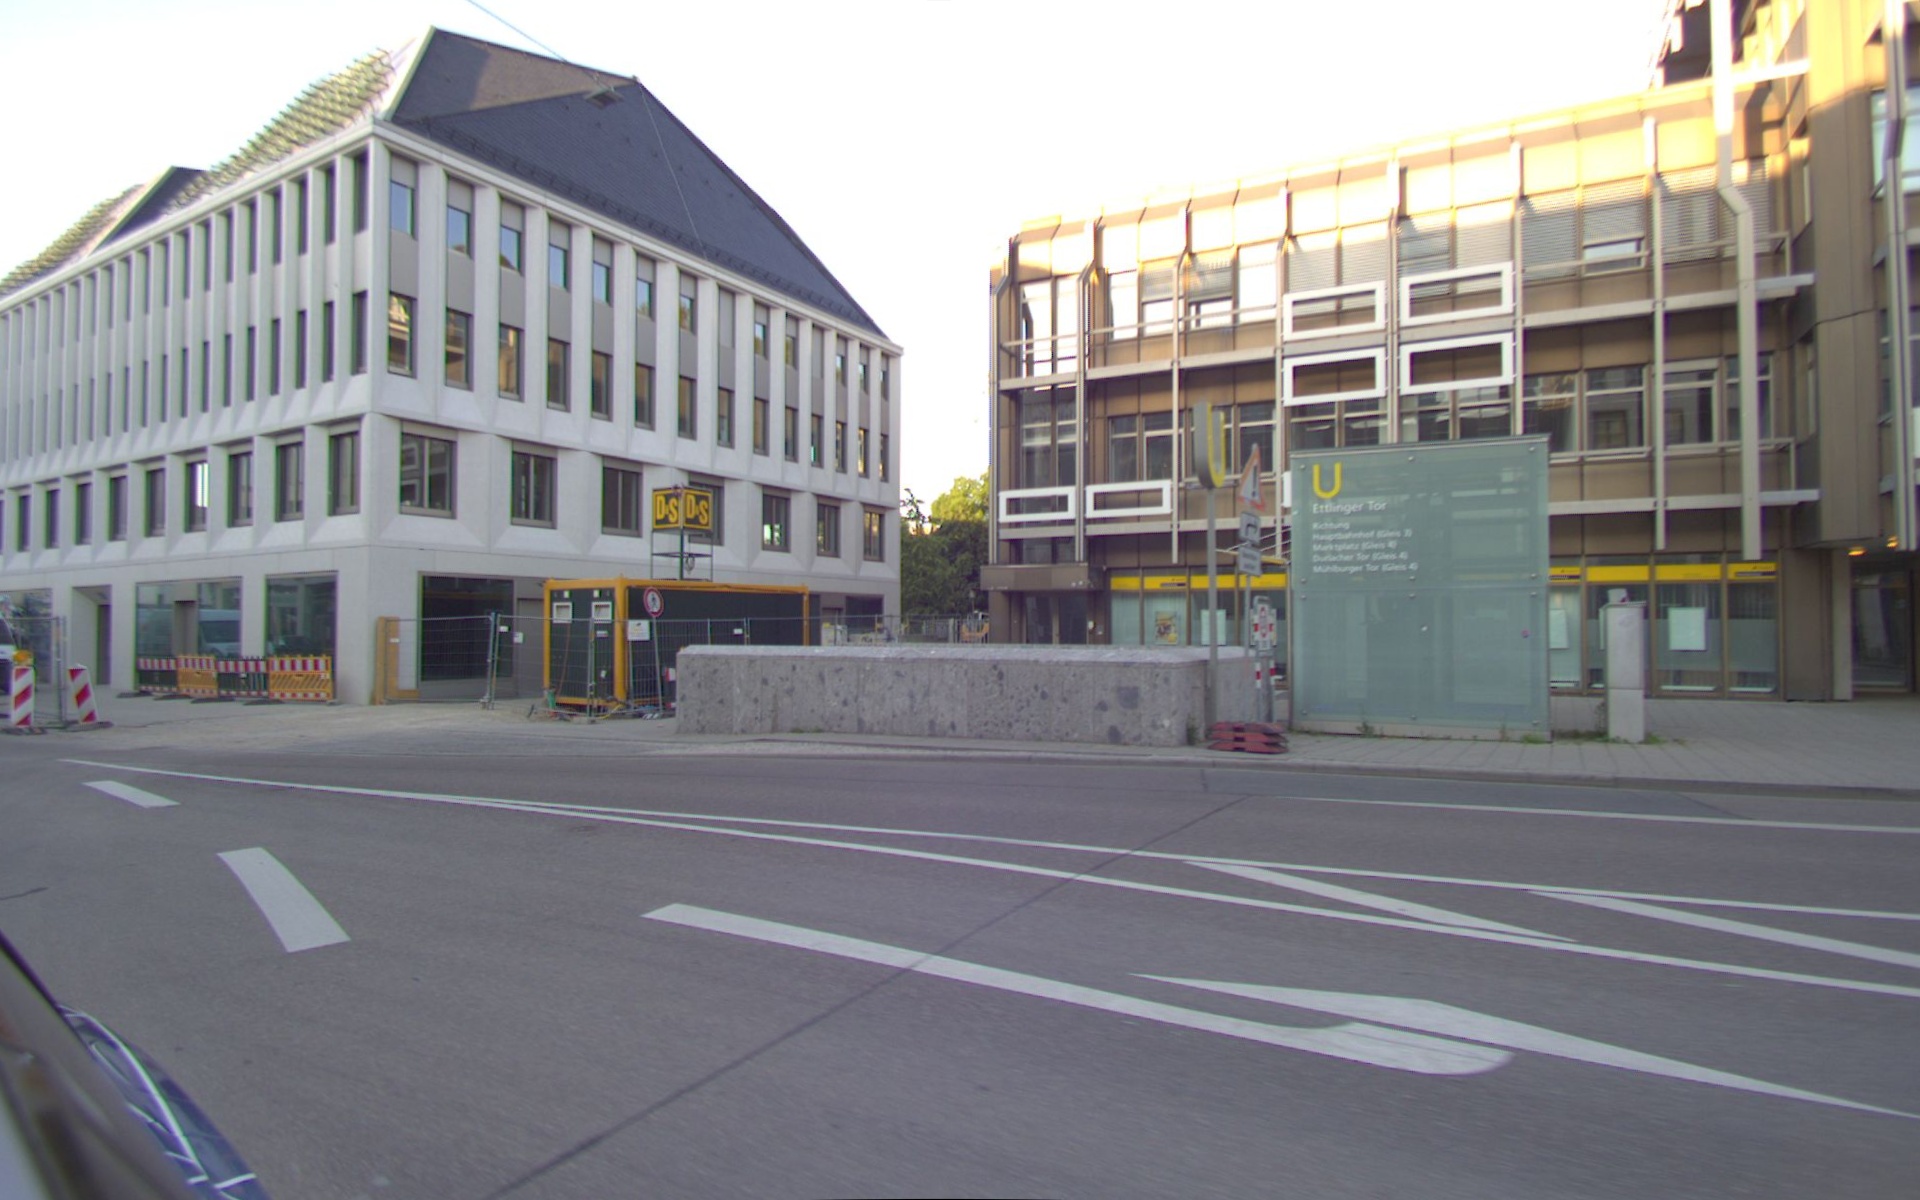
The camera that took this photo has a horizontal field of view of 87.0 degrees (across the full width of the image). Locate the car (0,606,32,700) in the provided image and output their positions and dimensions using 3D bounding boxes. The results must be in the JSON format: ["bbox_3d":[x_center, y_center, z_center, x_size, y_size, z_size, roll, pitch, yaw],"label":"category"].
[{"bbox_3d":[-28.184,1.447,27.925,5.976,2.489,2.158,-1,-2,31],"label":"car"}]

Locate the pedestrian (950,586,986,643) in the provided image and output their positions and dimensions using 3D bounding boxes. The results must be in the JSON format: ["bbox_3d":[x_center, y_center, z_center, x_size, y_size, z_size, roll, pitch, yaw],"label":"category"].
[{"bbox_3d":[0.295,0.541,36.417,0.943,2.029,0.880,-2,-3,37],"label":"pedestrian"}]
